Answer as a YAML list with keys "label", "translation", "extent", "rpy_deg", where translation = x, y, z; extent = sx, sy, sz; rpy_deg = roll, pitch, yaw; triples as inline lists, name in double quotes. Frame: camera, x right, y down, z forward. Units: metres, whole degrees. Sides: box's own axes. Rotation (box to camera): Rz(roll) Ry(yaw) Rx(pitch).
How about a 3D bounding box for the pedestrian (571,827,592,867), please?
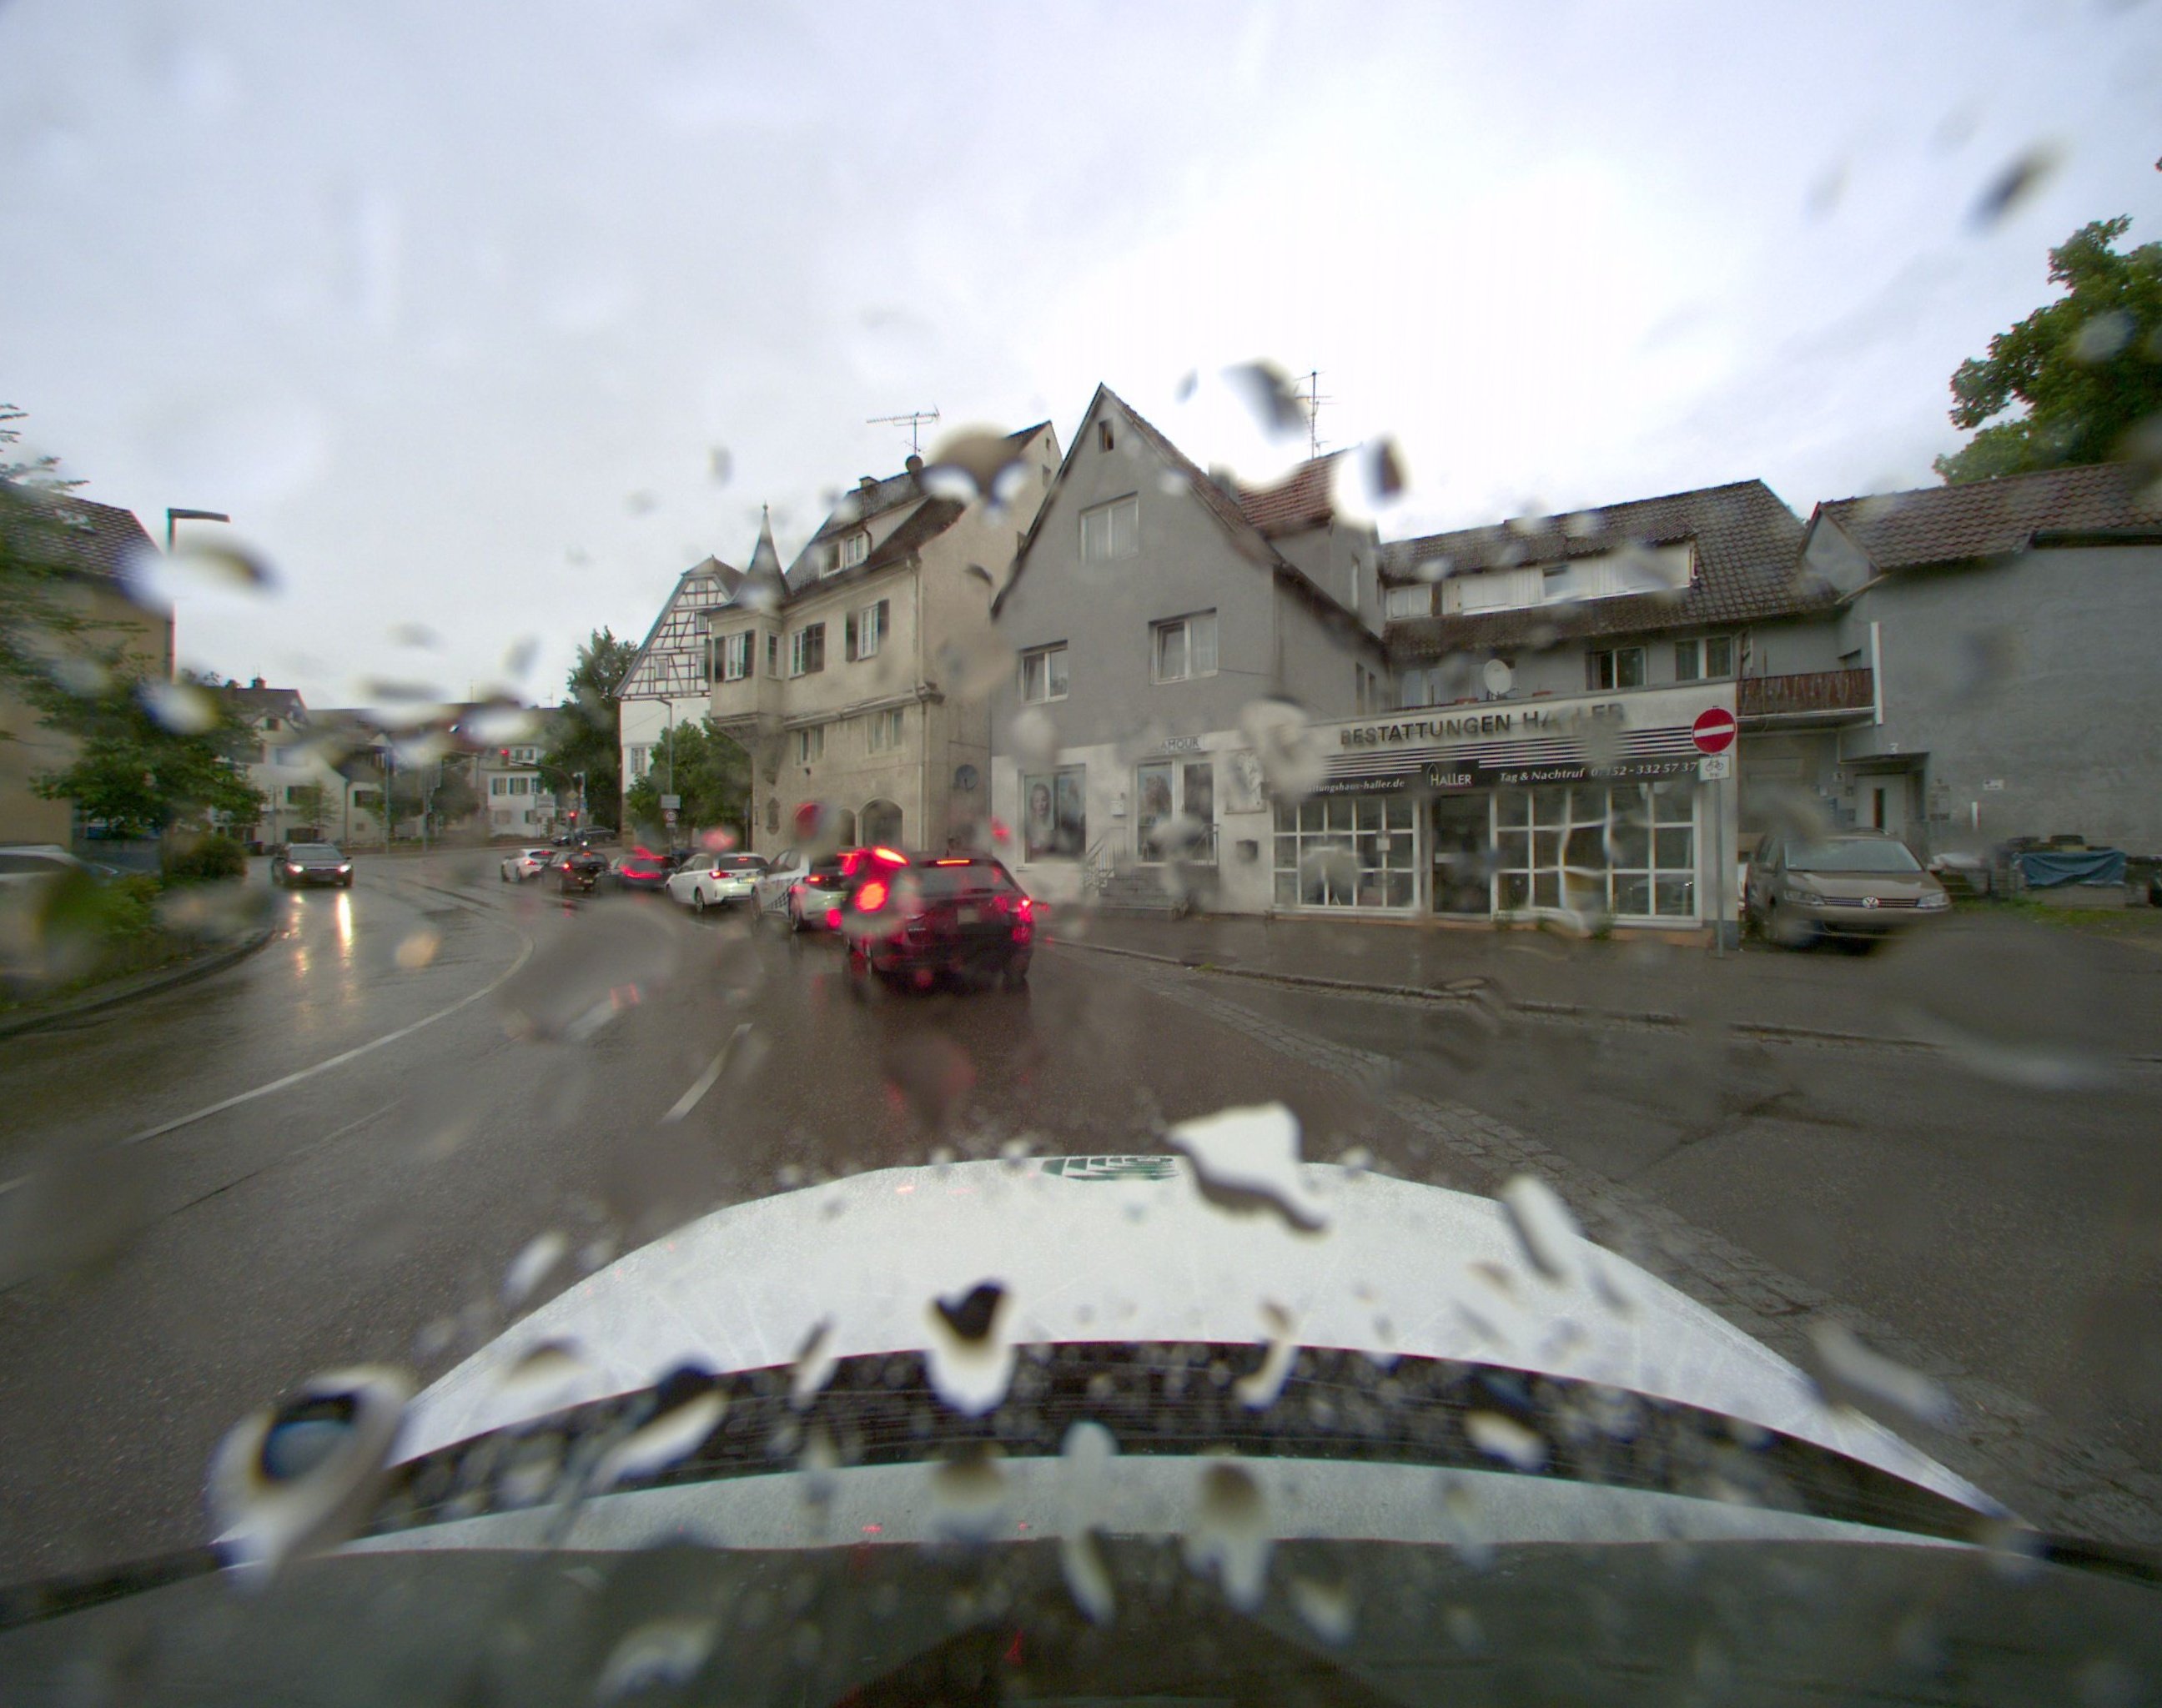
- label: "pedestrian"
  translation: [-30.009, -0.414, 48.961]
  extent: [0.872, 2.326, 1.216]
  rpy_deg: [-1, 0, -40]

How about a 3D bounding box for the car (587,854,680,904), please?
- label: "car"
  translation: [-14.140, 0.726, 25.667]
  extent: [3.721, 1.361, 1.533]
  rpy_deg: [1, 3, 44]

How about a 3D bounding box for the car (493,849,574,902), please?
- label: "car"
  translation: [-23.574, 0.850, 35.026]
  extent: [3.911, 2.090, 1.992]
  rpy_deg: [1, 2, 42]

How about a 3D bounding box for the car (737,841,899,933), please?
- label: "car"
  translation: [-5.319, 0.568, 16.126]
  extent: [1.803, 1.517, 4.194]
  rpy_deg: [-2, 1, -36]

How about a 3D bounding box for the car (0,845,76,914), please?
- label: "car"
  translation: [-26.205, 0.616, 18.722]
  extent: [1.692, 1.576, 3.558]
  rpy_deg: [0, 1, 24]

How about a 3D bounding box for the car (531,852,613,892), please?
- label: "car"
  translation: [-18.847, 0.619, 30.094]
  extent: [3.578, 1.312, 1.678]
  rpy_deg: [1, 2, 43]

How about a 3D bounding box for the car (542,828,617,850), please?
- label: "car"
  translation: [-37.547, -1.126, 61.128]
  extent: [1.632, 1.389, 4.555]
  rpy_deg: [7, 3, 23]

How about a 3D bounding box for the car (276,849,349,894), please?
- label: "car"
  translation: [-28.506, 0.637, 30.173]
  extent: [4.219, 1.510, 1.748]
  rpy_deg: [-2, 1, 44]

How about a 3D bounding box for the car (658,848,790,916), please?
- label: "car"
  translation: [-9.106, 0.613, 20.606]
  extent: [1.801, 1.465, 4.114]
  rpy_deg: [-3, 2, -42]

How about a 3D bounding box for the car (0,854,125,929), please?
- label: "car"
  translation: [-22.451, 0.773, 16.539]
  extent: [1.692, 1.455, 3.558]
  rpy_deg: [0, 1, 24]

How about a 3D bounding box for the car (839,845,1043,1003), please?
- label: "car"
  translation: [-1.949, 0.652, 10.160]
  extent: [1.738, 1.450, 4.212]
  rpy_deg: [-2, 2, -21]

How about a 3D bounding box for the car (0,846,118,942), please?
- label: "car"
  translation: [-20.135, 0.722, 14.452]
  extent: [1.692, 1.685, 3.558]
  rpy_deg: [0, 1, 24]

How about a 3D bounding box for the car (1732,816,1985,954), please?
- label: "car"
  translation: [11.715, 0.308, 12.677]
  extent: [1.905, 1.727, 4.698]
  rpy_deg: [-1, 2, 32]
